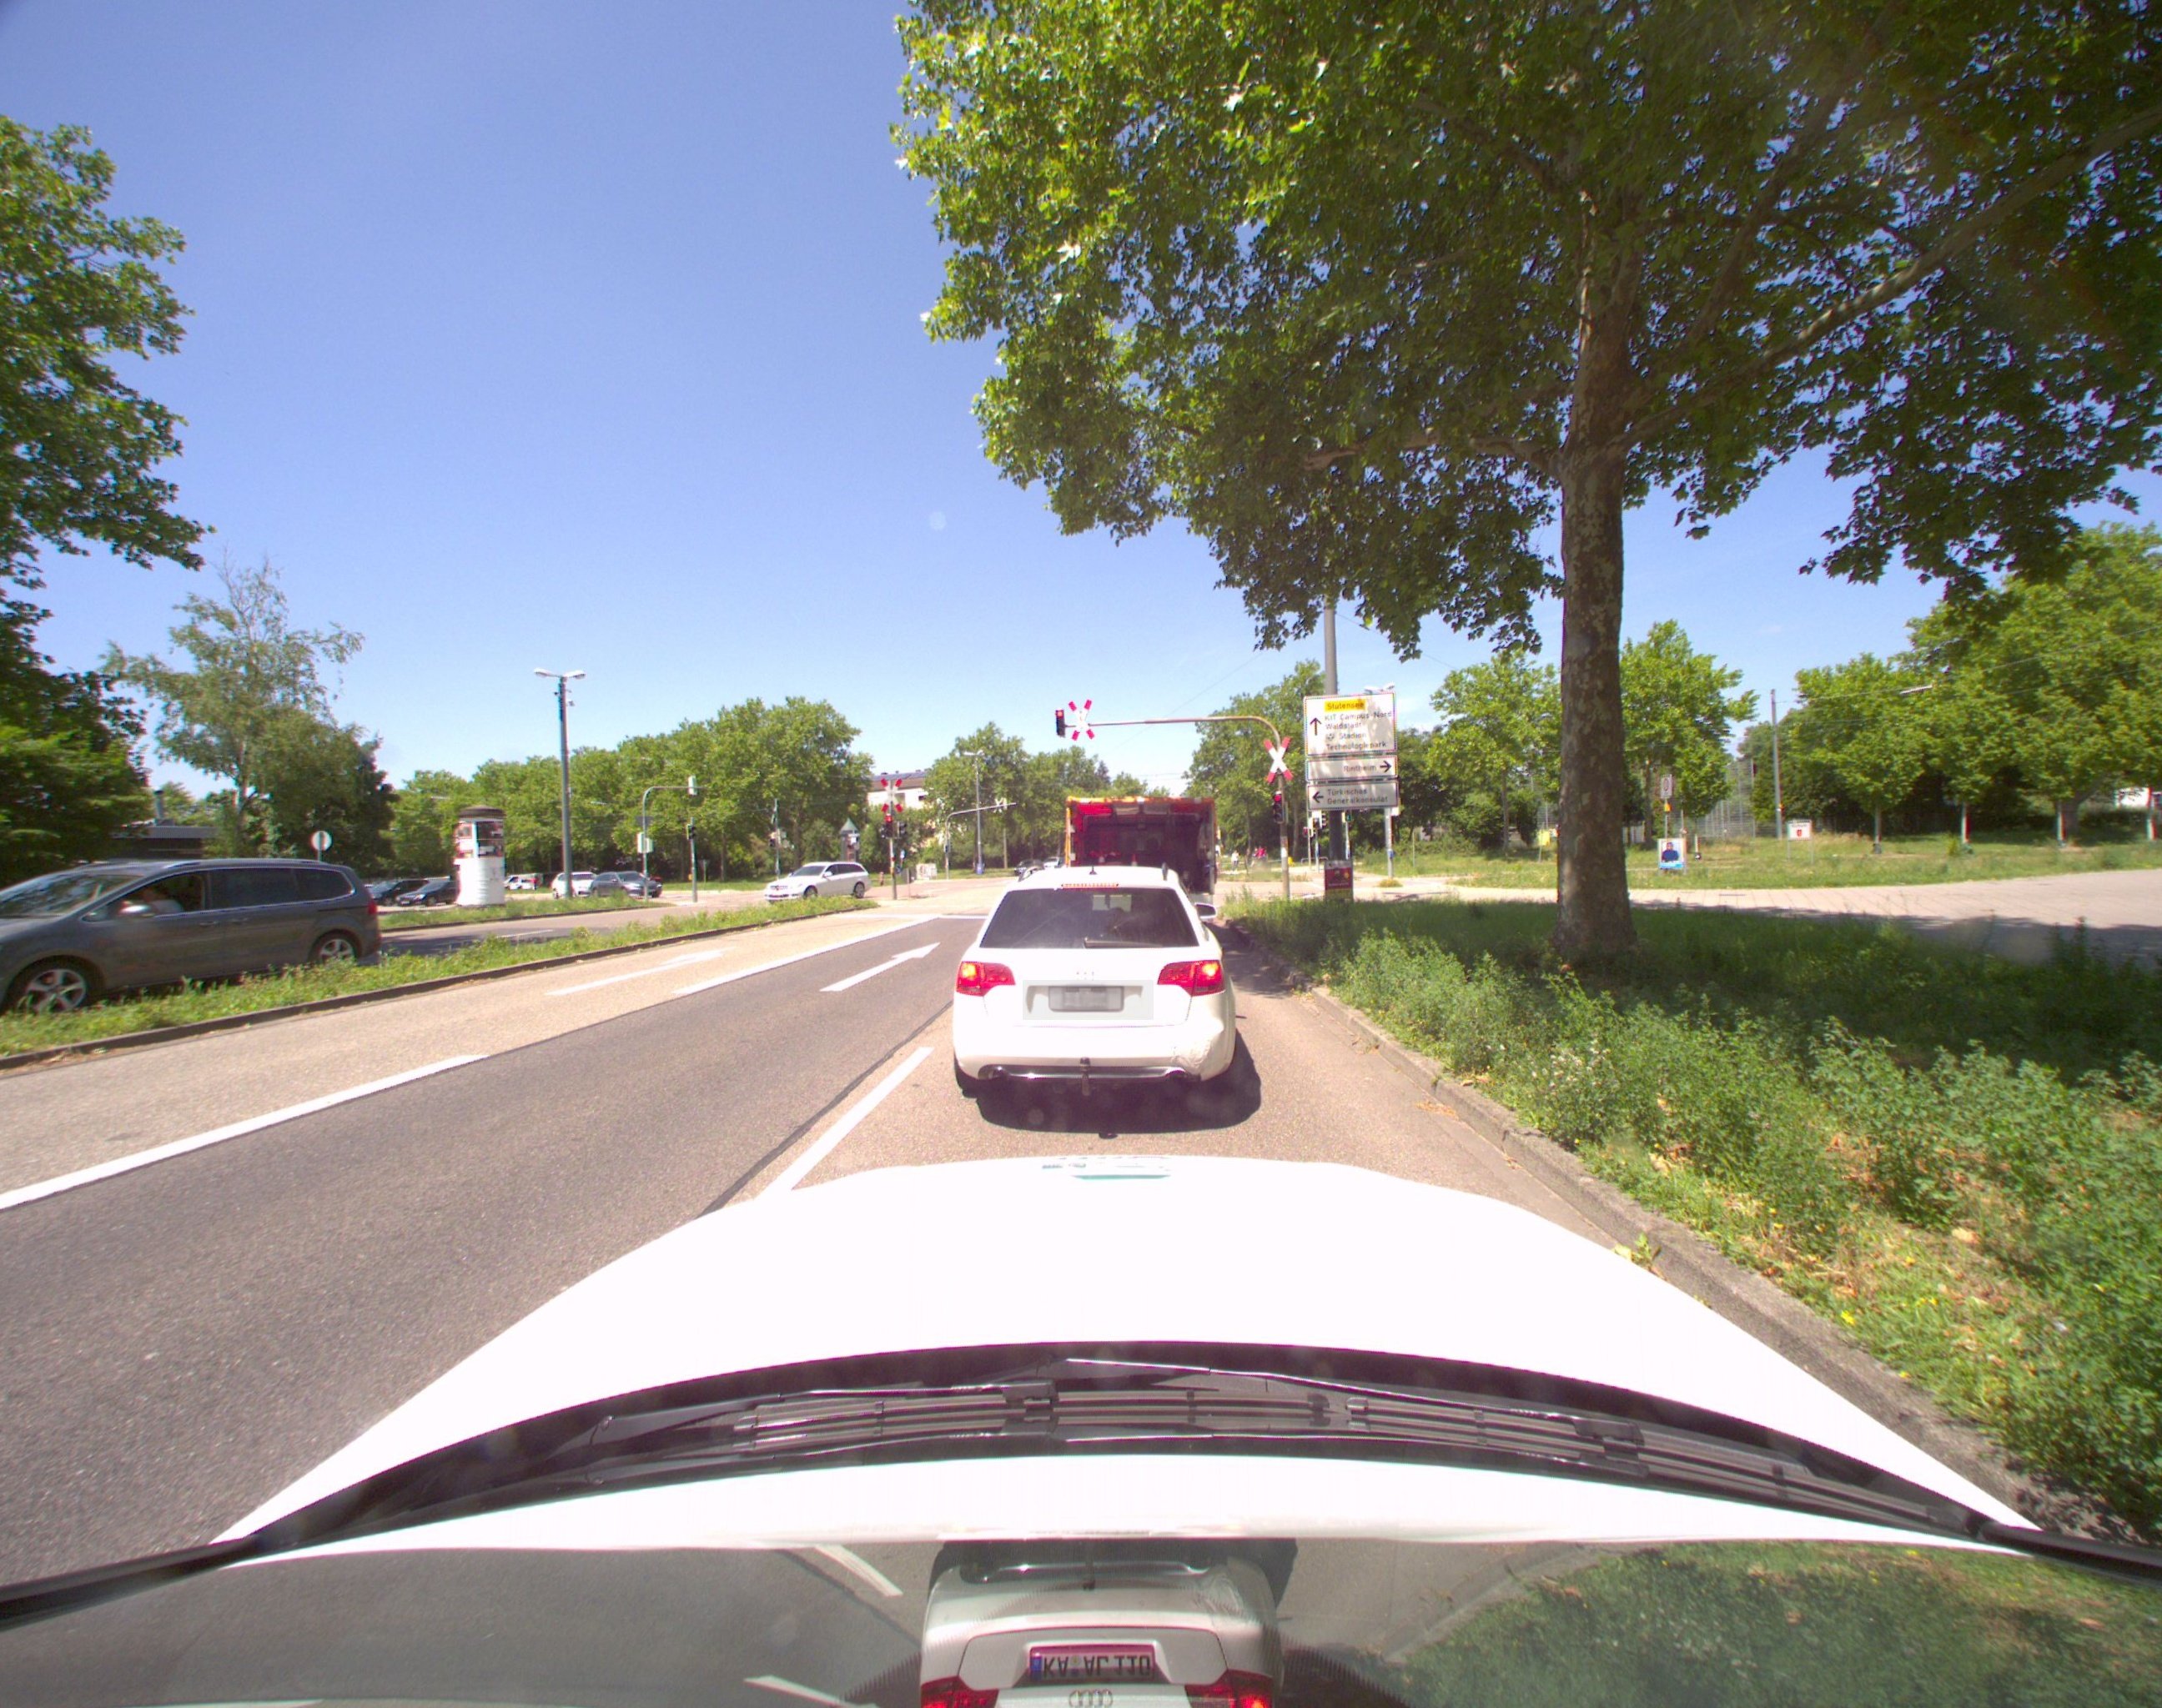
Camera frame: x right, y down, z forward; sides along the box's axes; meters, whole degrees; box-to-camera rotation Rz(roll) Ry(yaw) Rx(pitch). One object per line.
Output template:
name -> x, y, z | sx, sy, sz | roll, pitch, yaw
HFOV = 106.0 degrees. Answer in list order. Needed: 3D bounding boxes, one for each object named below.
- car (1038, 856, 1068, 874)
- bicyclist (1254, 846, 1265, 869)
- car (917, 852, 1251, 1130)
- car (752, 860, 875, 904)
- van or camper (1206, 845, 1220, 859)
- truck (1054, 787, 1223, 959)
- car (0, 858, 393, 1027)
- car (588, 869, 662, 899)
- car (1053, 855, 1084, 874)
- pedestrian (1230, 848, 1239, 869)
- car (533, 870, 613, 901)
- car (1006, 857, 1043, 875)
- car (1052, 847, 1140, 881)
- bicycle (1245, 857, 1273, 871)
car -> -2.802, 1.043, 81.152 | 1.774, 1.615, 4.421 | -2, 0, 14
bicyclist -> 12.209, 0.235, 55.672 | 0.667, 1.556, 0.581 | -2, 0, 9
car -> 0.190, 0.723, 6.111 | 1.754, 1.445, 3.622 | -1, 0, 6
car -> -9.868, 0.987, 30.481 | 1.837, 1.418, 4.571 | -2, 0, 21
van or camper -> 32.378, -0.511, 199.197 | 2.640, 3.331, 5.524 | -2, 0, 16
truck -> 1.190, 0.303, 15.944 | 2.499, 2.559, 7.613 | 0, 0, 5
car -> -11.548, 0.920, 10.038 | 1.940, 1.656, 4.627 | -2, 0, 4
car -> -24.076, 1.589, 42.939 | 3.941, 1.457, 1.776 | -2, 0, 34
car -> -1.130, 0.917, 74.319 | 1.897, 1.539, 4.312 | -2, 0, 11
pedestrian -> 10.993, 0.342, 58.327 | 0.548, 1.484, 0.632 | -2, 0, 18
car -> -29.314, 1.805, 46.991 | 4.403, 1.604, 2.231 | -2, 0, 34
car -> -5.085, 1.080, 73.695 | 1.935, 1.440, 4.765 | -1, 1, 15
car -> 0.798, 0.533, 44.205 | 4.435, 1.679, 1.909 | -2, 0, -14
bicycle -> 12.158, 0.703, 55.682 | 1.794, 0.895, 0.590 | -2, 0, 9
